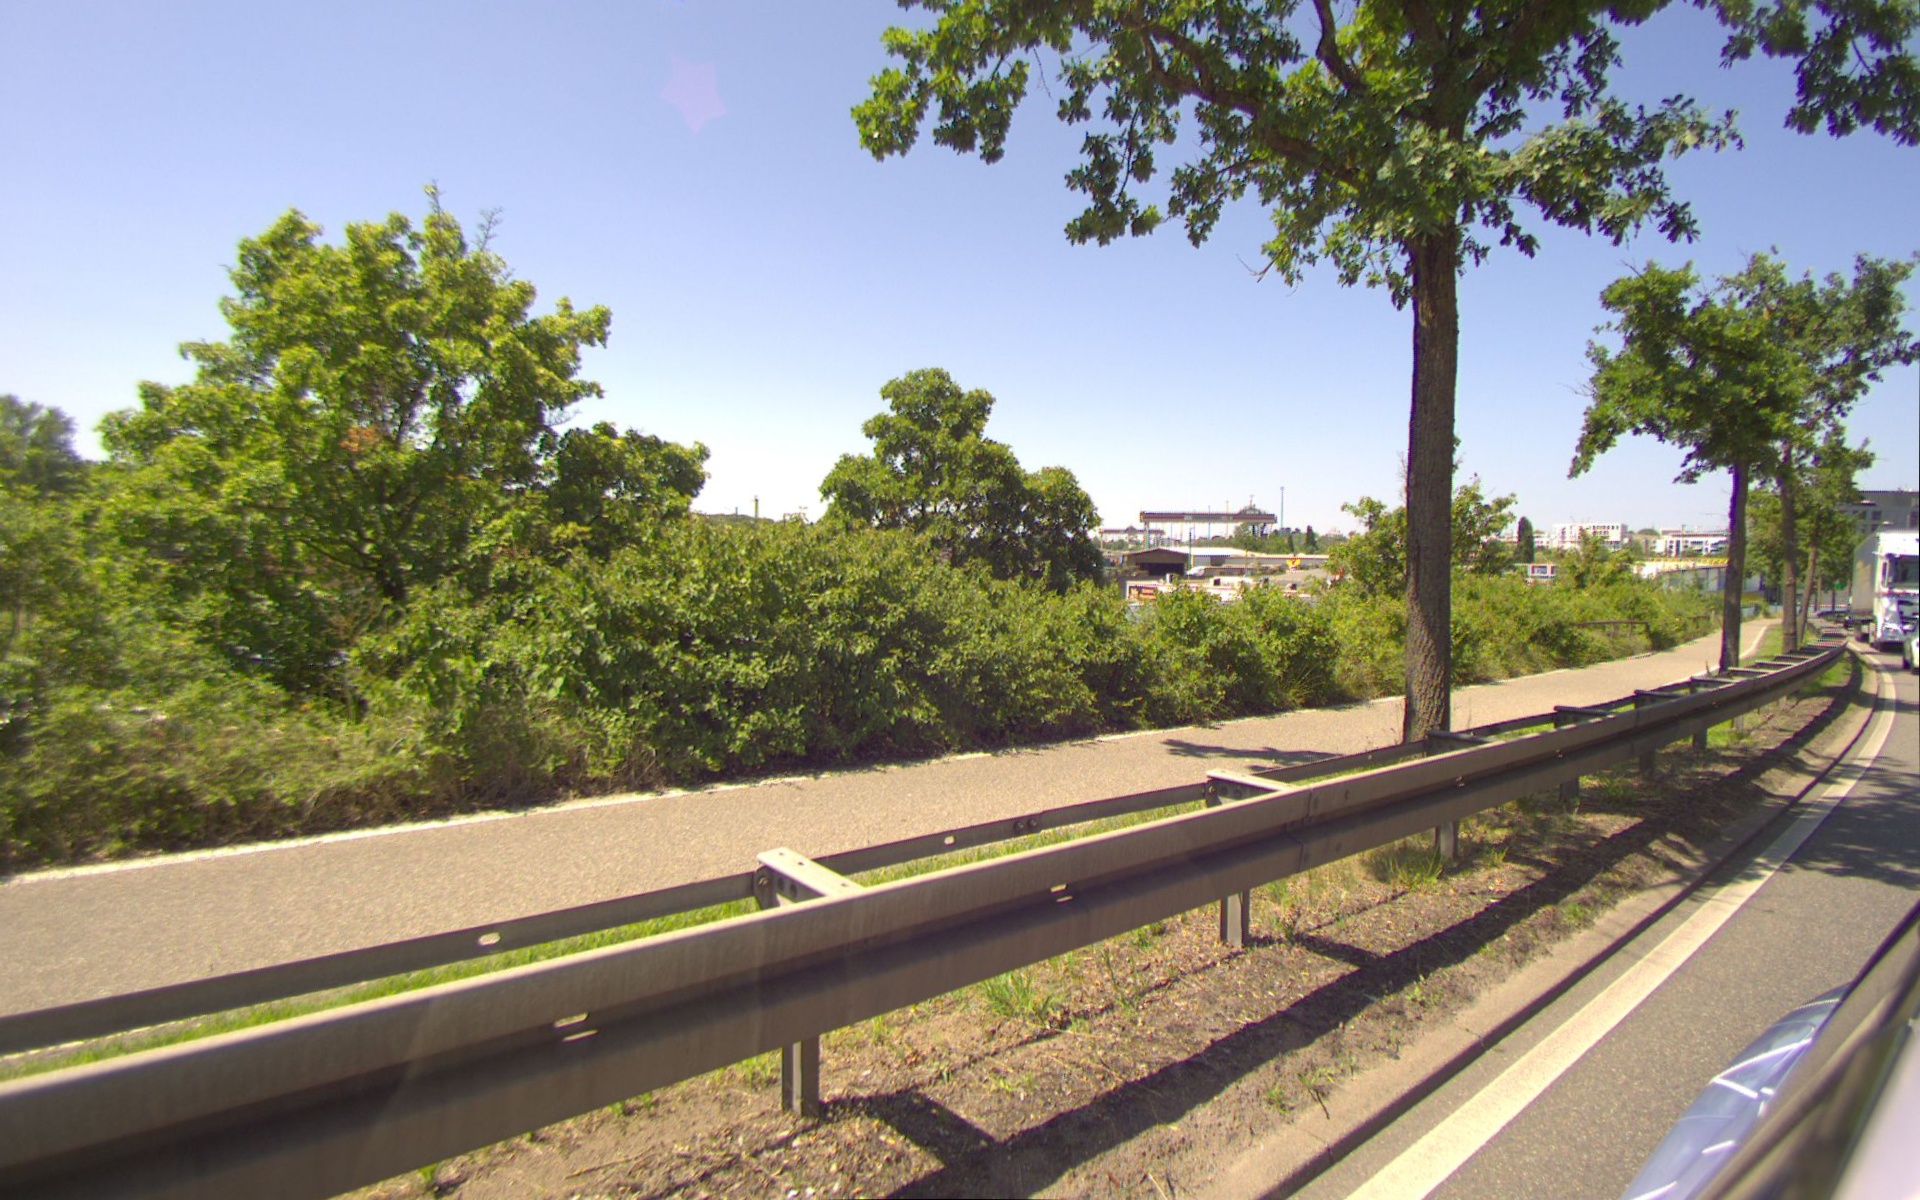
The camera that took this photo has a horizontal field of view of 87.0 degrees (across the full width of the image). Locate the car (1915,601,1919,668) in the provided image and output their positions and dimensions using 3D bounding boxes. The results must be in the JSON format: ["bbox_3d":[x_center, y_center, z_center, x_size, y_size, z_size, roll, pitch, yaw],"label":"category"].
[{"bbox_3d":[22.572,0.741,22.550,1.776,1.424,3.935,0,0,45],"label":"car"}]

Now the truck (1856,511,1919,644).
[{"bbox_3d":[36.244,-0.749,38.074,3.058,4.223,16.671,0,0,39],"label":"truck"}]

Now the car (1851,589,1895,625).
[{"bbox_3d":[53.059,0.368,58.854,1.774,2.039,3.941,0,0,41],"label":"car"}]
